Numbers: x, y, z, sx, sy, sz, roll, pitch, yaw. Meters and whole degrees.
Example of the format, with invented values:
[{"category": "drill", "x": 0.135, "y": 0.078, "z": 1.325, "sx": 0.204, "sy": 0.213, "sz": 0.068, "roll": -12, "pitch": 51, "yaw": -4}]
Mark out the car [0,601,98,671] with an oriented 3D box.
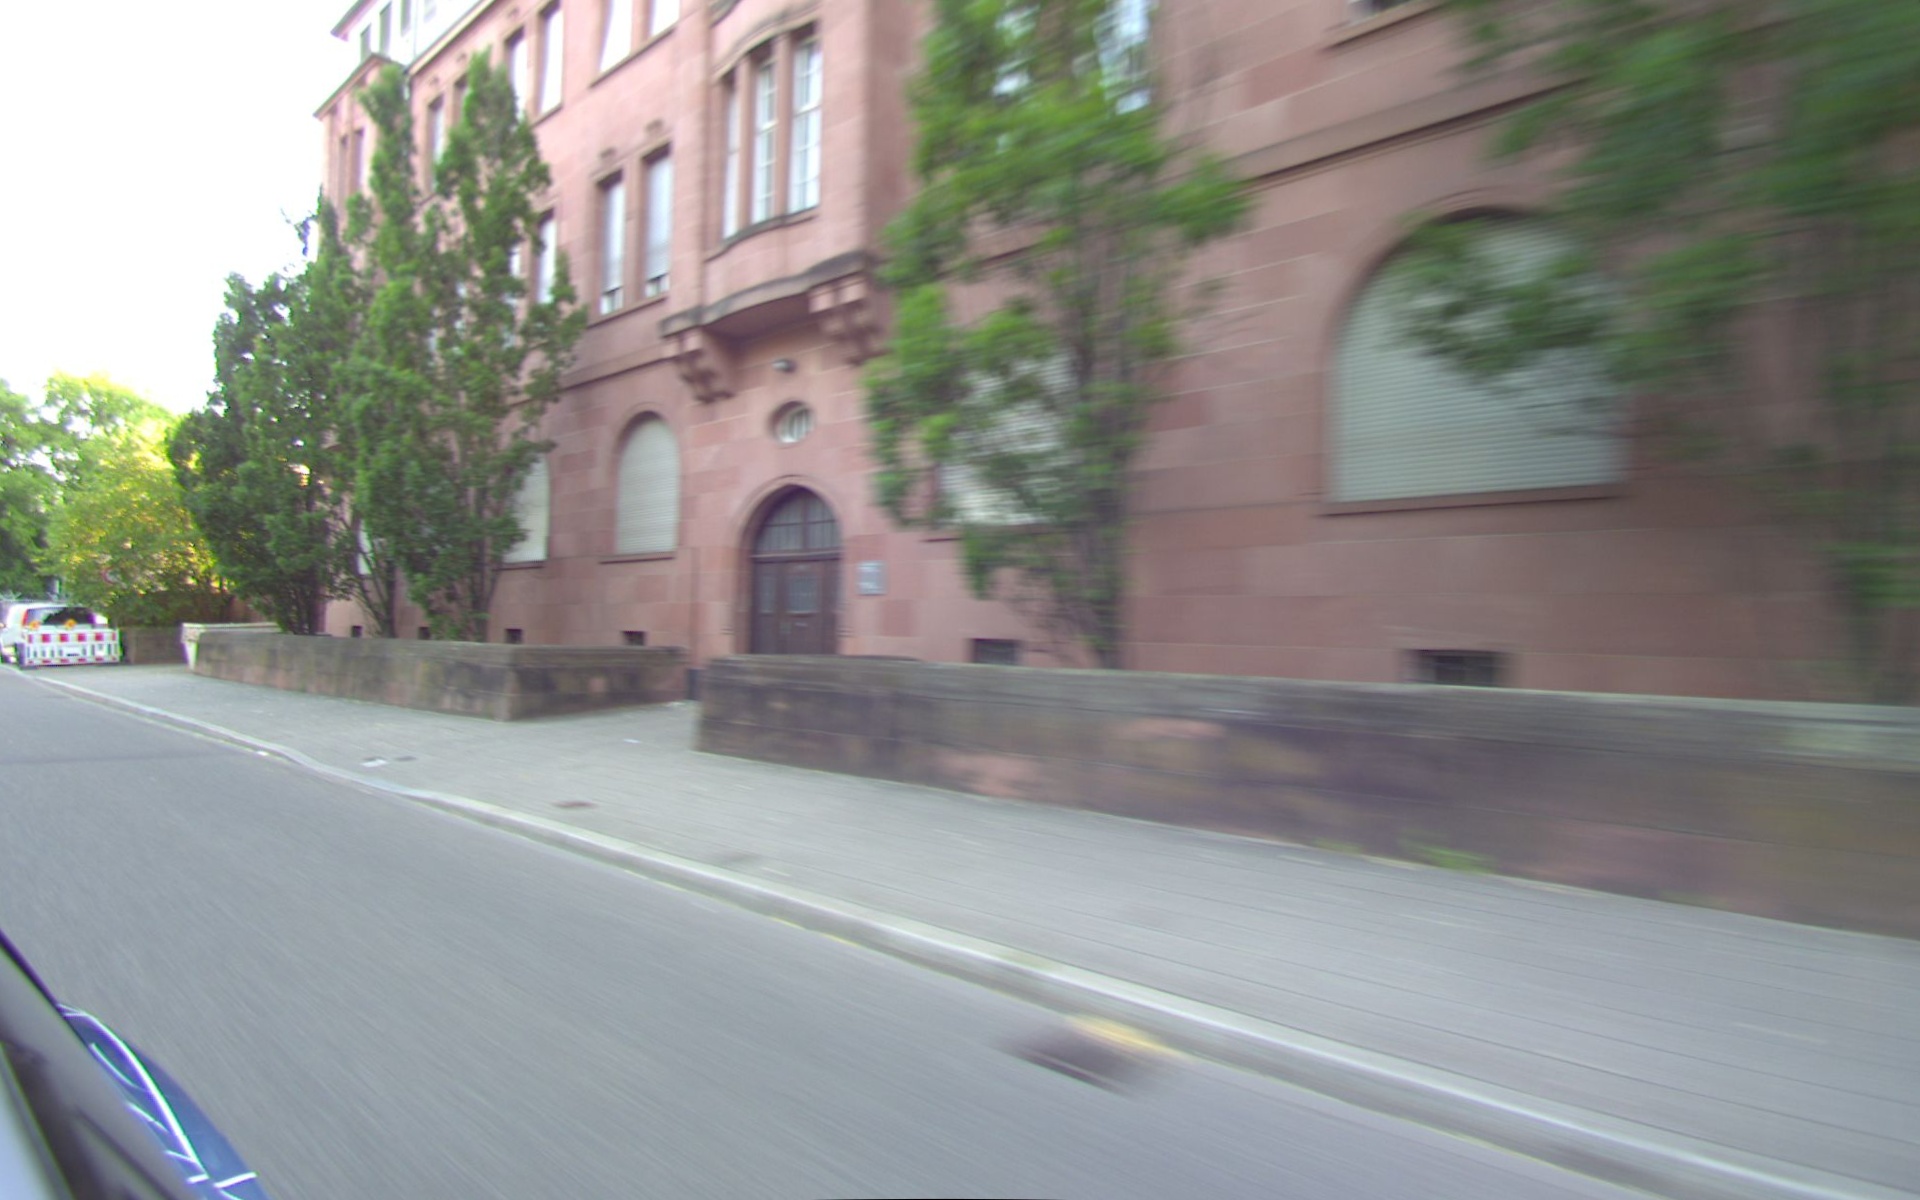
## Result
[{"category": "car", "x": -29.030, "y": 1.078, "z": 31.980, "sx": 5.222, "sy": 2.029, "sz": 1.864, "roll": -1, "pitch": 0, "yaw": 40}]
